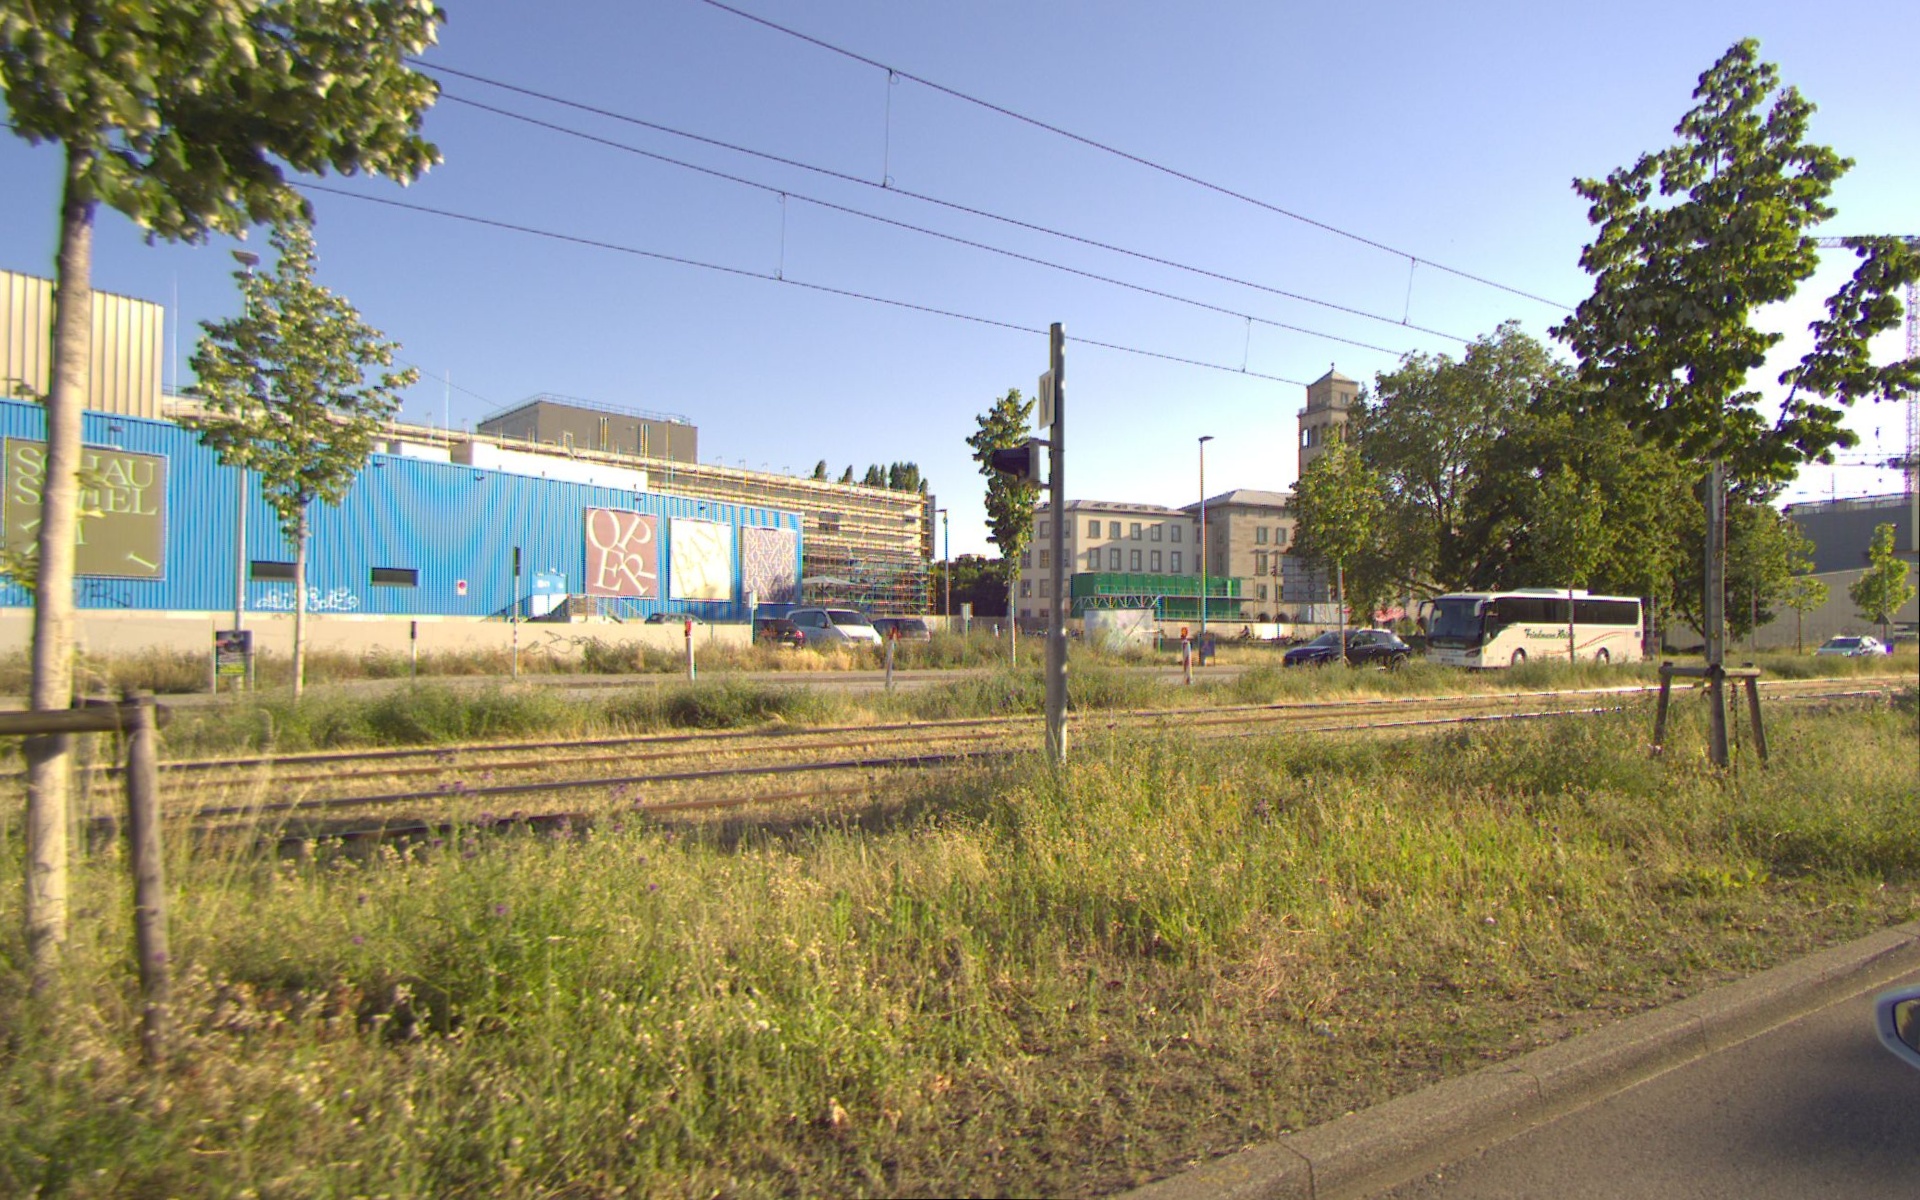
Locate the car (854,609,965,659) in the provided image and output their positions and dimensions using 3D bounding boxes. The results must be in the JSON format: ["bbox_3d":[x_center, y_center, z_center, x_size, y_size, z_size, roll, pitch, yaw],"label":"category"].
[{"bbox_3d":[-1.990,1.234,37.643,2.099,1.739,5.204,1,-1,-29],"label":"car"}]

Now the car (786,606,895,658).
[{"bbox_3d":[-4.433,1.117,36.395,2.099,1.739,5.204,1,-1,-29],"label":"car"}]

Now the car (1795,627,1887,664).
[{"bbox_3d":[41.031,2.102,46.783,4.116,1.664,1.986,1,-1,-29],"label":"car"}]

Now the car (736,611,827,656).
[{"bbox_3d":[-6.354,1.162,35.384,1.976,1.504,3.969,1,-1,-29],"label":"car"}]

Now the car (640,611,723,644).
[{"bbox_3d":[-14.426,1.430,52.249,1.389,1.657,4.209,0,-1,36],"label":"car"}]

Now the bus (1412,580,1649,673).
[{"bbox_3d":[24.970,1.176,43.586,12.541,3.642,2.787,1,-1,-29],"label":"bus"}]

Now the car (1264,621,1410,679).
[{"bbox_3d":[11.627,1.515,30.948,4.220,1.673,1.984,1,-1,-30],"label":"car"}]
